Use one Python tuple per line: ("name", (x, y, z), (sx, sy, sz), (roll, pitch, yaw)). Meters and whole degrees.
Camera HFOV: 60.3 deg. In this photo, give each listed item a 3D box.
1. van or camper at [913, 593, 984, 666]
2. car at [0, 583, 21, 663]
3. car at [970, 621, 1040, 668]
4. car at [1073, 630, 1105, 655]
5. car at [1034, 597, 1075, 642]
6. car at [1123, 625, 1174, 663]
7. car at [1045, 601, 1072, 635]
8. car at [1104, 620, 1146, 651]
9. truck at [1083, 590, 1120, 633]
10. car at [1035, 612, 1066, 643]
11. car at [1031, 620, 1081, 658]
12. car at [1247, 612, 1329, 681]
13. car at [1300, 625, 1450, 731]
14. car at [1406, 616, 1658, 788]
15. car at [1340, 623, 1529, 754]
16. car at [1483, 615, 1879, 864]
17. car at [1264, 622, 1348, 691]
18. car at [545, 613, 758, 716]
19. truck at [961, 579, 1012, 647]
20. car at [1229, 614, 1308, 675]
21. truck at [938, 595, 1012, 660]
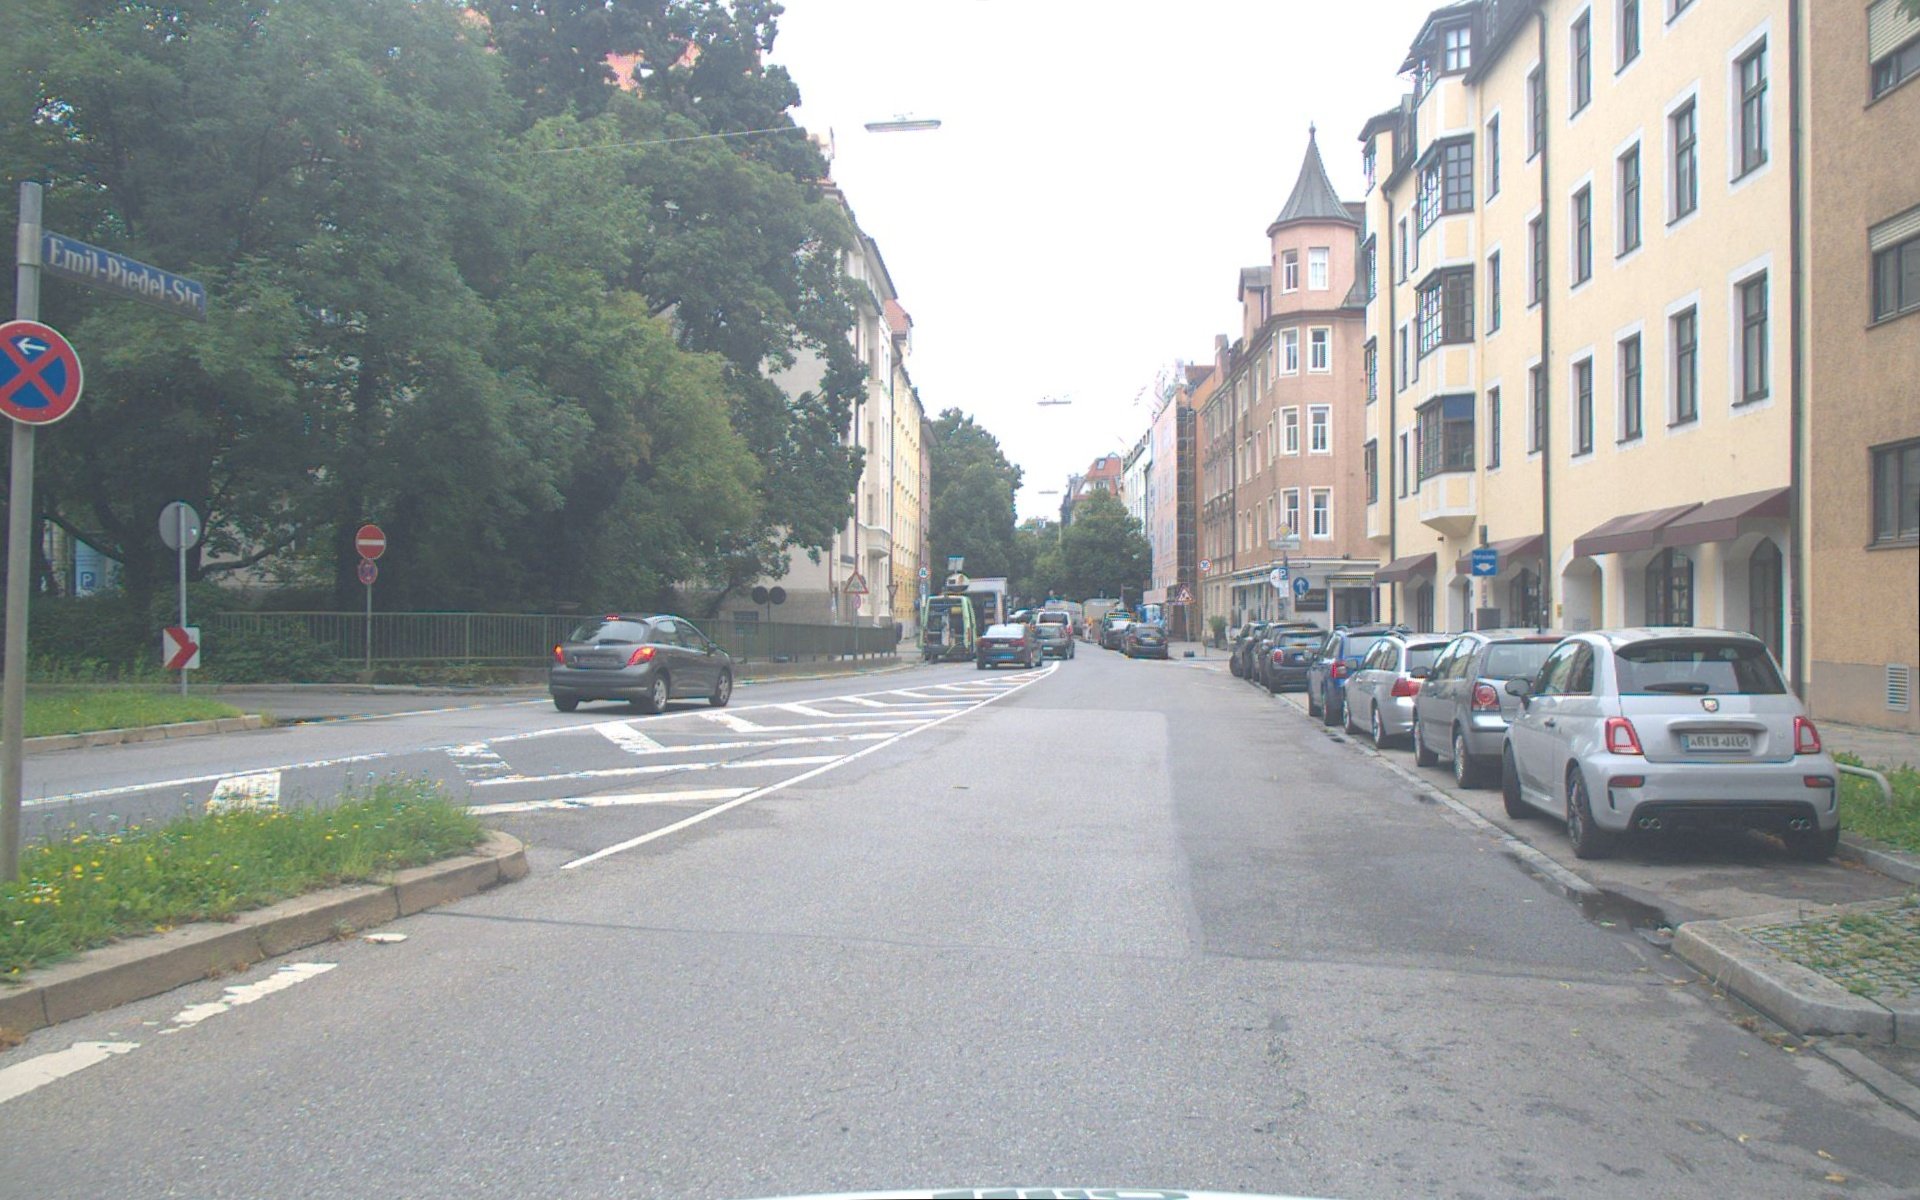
("van or camper", (-0.393, 1.150, 68.224), (2.546, 2.890, 6.188), (0, 0, 3))
("car", (-28.713, 0.641, 46.337), (2.256, 2.310, 5.122), (0, -1, -6))
("car", (1.570, 1.459, 55.736), (1.948, 1.454, 4.909), (0, 0, 6))
("car", (8.160, 2.688, 104.793), (1.948, 1.454, 4.142), (0, 0, 3))
("car", (4.608, 0.934, 80.633), (1.948, 2.111, 4.142), (0, 0, 3))
("car", (8.243, 1.890, 72.556), (1.806, 1.454, 4.184), (3, 0, 1))
("car", (7.401, 1.351, 124.113), (1.899, 2.524, 4.785), (1, -1, 4))
("car", (8.653, 1.856, 87.137), (1.806, 1.454, 4.307), (3, 0, 1))
("truck", (10.307, 0.858, 120.899), (2.440, 3.025, 5.328), (1, -1, 2))
("car", (6.000, 1.825, 110.175), (1.952, 2.049, 4.001), (0, -1, 2))
("car", (3.930, 1.573, 67.735), (1.948, 1.454, 4.142), (0, 0, 3))
("car", (8.667, 1.215, 43.992), (1.719, 1.709, 4.709), (-1, -1, 6))
("car", (6.558, 1.193, 26.557), (1.719, 1.522, 4.490), (-1, -1, 7))
("car", (5.661, 0.951, 16.806), (1.593, 1.522, 3.789), (-1, -1, 7))
("car", (6.131, 1.084, 21.812), (1.654, 1.522, 4.437), (-1, -1, 7))
("car", (5.070, 0.903, 12.183), (1.593, 1.522, 3.823), (-1, -1, 7))
("car", (8.111, 1.306, 39.022), (1.719, 1.522, 3.826), (-1, -1, 9))
("car", (-4.730, 0.970, 25.995), (1.721, 1.486, 4.077), (0, -1, 15))
("truck", (1.659, 0.801, 101.770), (2.950, 4.021, 6.996), (1, -1, 1))
("car", (9.177, 1.314, 49.462), (1.780, 1.709, 4.512), (-1, -1, 4))
("truck", (0.792, 1.228, 78.518), (2.714, 2.923, 7.207), (0, 0, 7))
